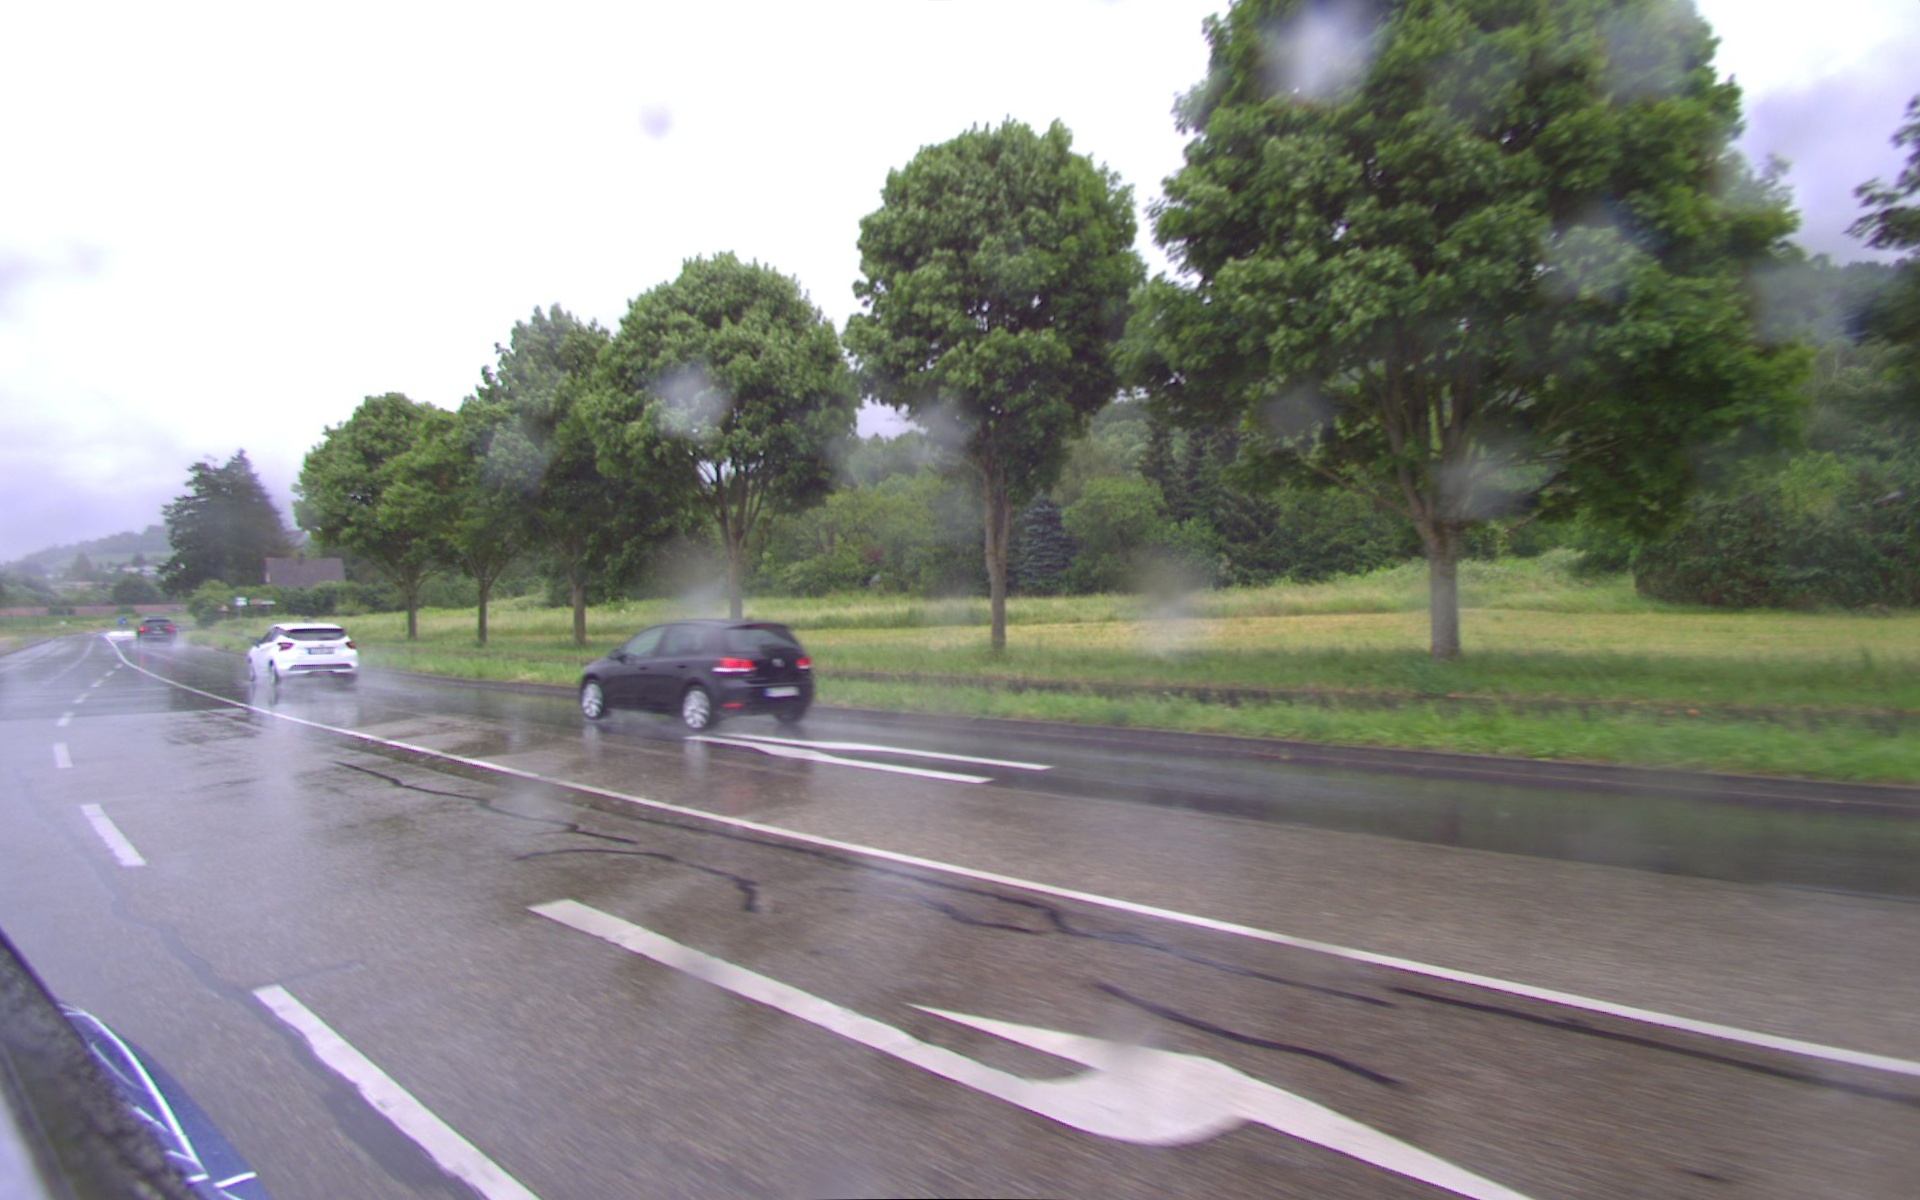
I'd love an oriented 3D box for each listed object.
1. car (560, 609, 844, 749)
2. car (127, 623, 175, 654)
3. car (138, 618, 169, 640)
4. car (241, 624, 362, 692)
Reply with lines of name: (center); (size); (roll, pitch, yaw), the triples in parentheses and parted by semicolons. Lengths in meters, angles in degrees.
car: (-3.727, 0.984, 14.263); (4.117, 1.599, 1.865); (-1, 2, 42)
car: (-48.560, 2.293, 60.733); (1.901, 1.756, 4.292); (1, -2, -43)
car: (-66.296, 2.365, 83.144); (1.720, 1.717, 4.227); (1, -2, -42)
car: (-16.056, 1.349, 24.594); (1.719, 1.498, 4.014); (1, -2, -44)
